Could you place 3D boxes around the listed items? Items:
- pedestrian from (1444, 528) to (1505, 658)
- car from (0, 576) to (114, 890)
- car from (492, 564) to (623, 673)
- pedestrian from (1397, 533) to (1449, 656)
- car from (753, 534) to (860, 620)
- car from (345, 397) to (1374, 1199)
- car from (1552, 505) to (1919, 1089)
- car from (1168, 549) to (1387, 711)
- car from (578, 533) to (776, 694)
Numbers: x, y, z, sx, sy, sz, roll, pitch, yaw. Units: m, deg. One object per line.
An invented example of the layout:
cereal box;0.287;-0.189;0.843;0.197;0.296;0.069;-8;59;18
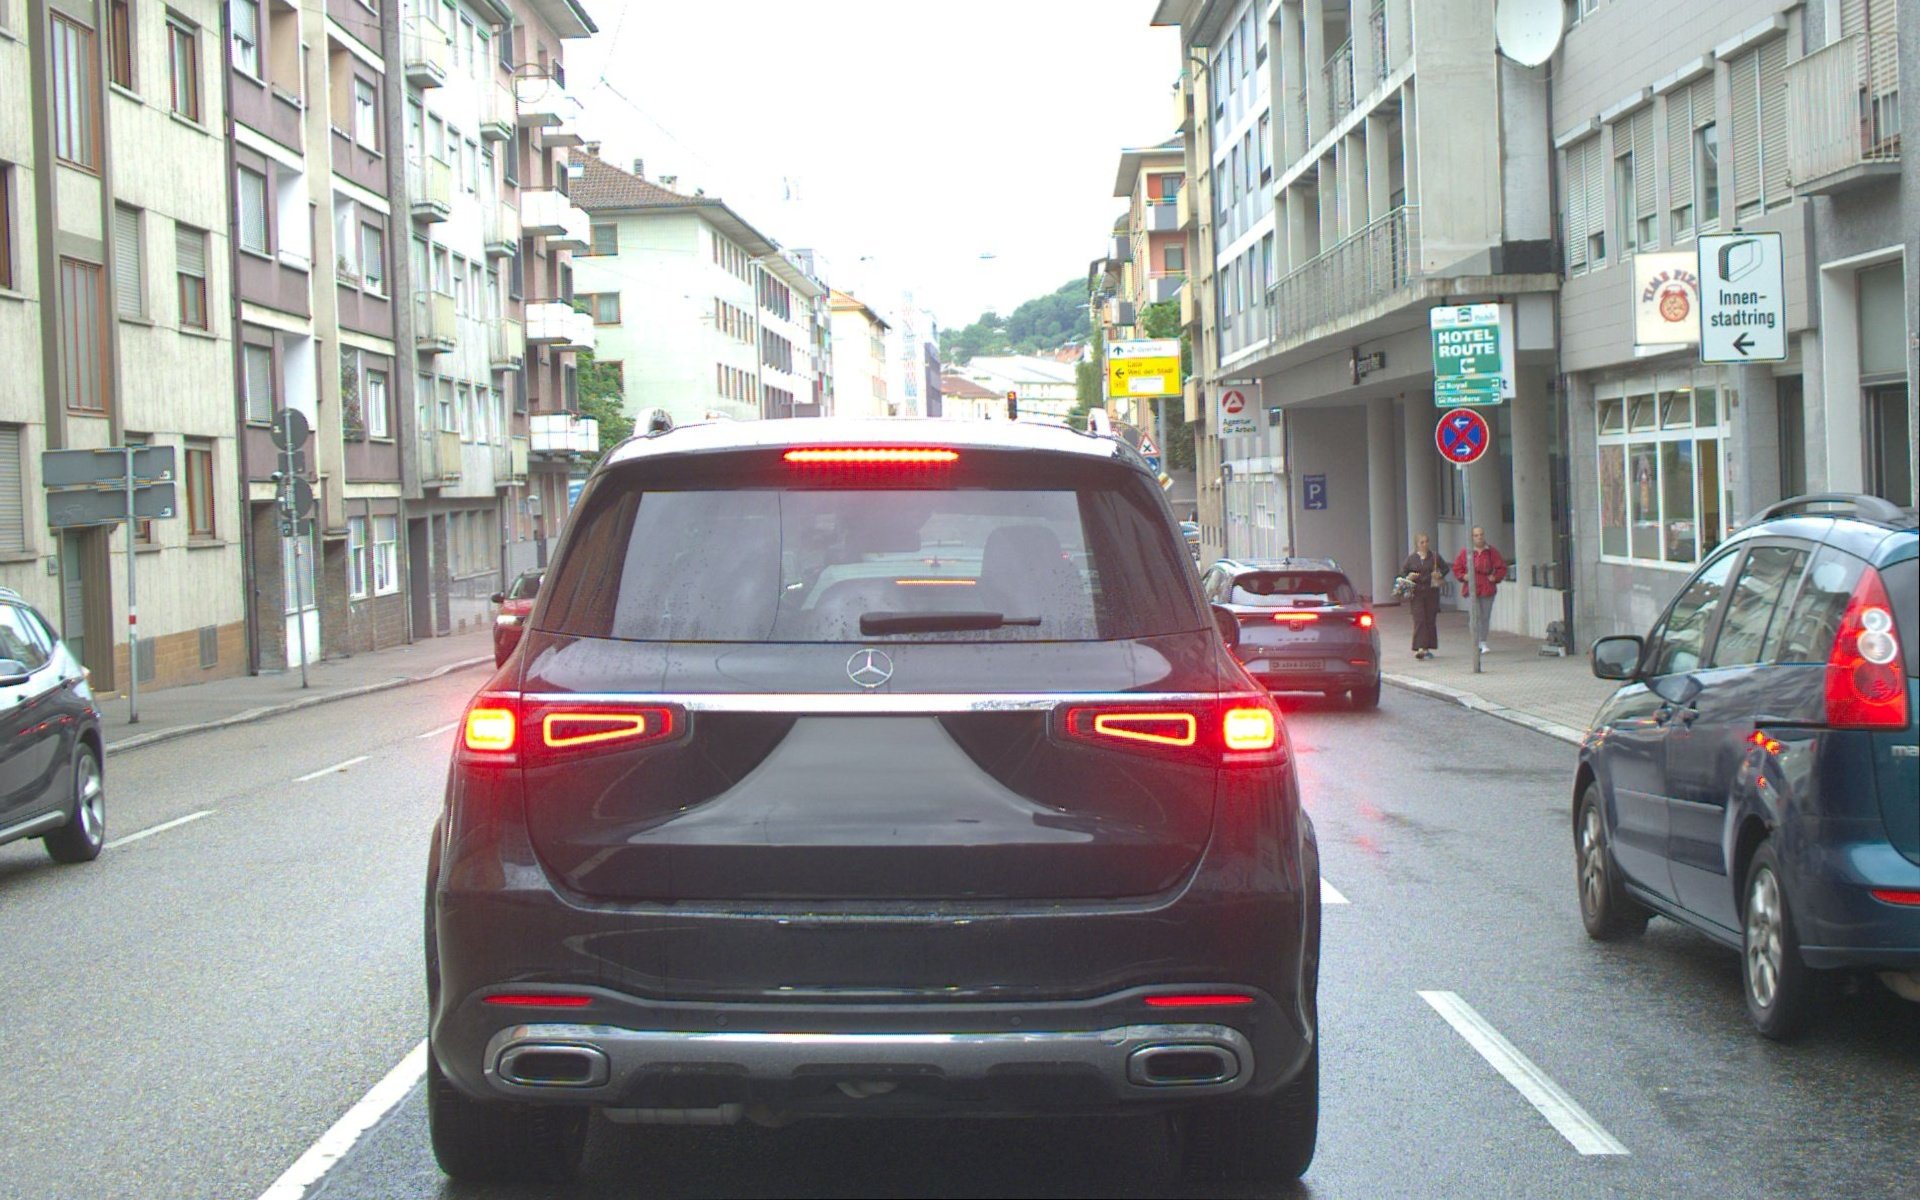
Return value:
pedestrian;6.405;-0.095;42.805;0.560;1.573;0.526;-4;1;-1
car;-5.568;0.709;17.035;1.703;1.502;4.160;-4;1;-1
car;-6.503;0.267;55.903;1.797;1.579;4.317;-3;1;-4
pedestrian;5.771;-0.072;42.865;0.506;1.495;0.562;-4;1;4
car;-3.323;-0.528;75.289;2.126;1.715;4.818;-3;1;-1
car;-0.240;0.478;8.856;2.025;1.799;4.000;1;1;-1
car;3.209;0.507;11.513;1.808;1.600;4.212;0;1;1
car;3.014;0.241;33.397;1.621;1.425;4.312;1;1;-1
car;-3.373;0.111;41.735;1.836;1.721;4.474;-4;1;1
